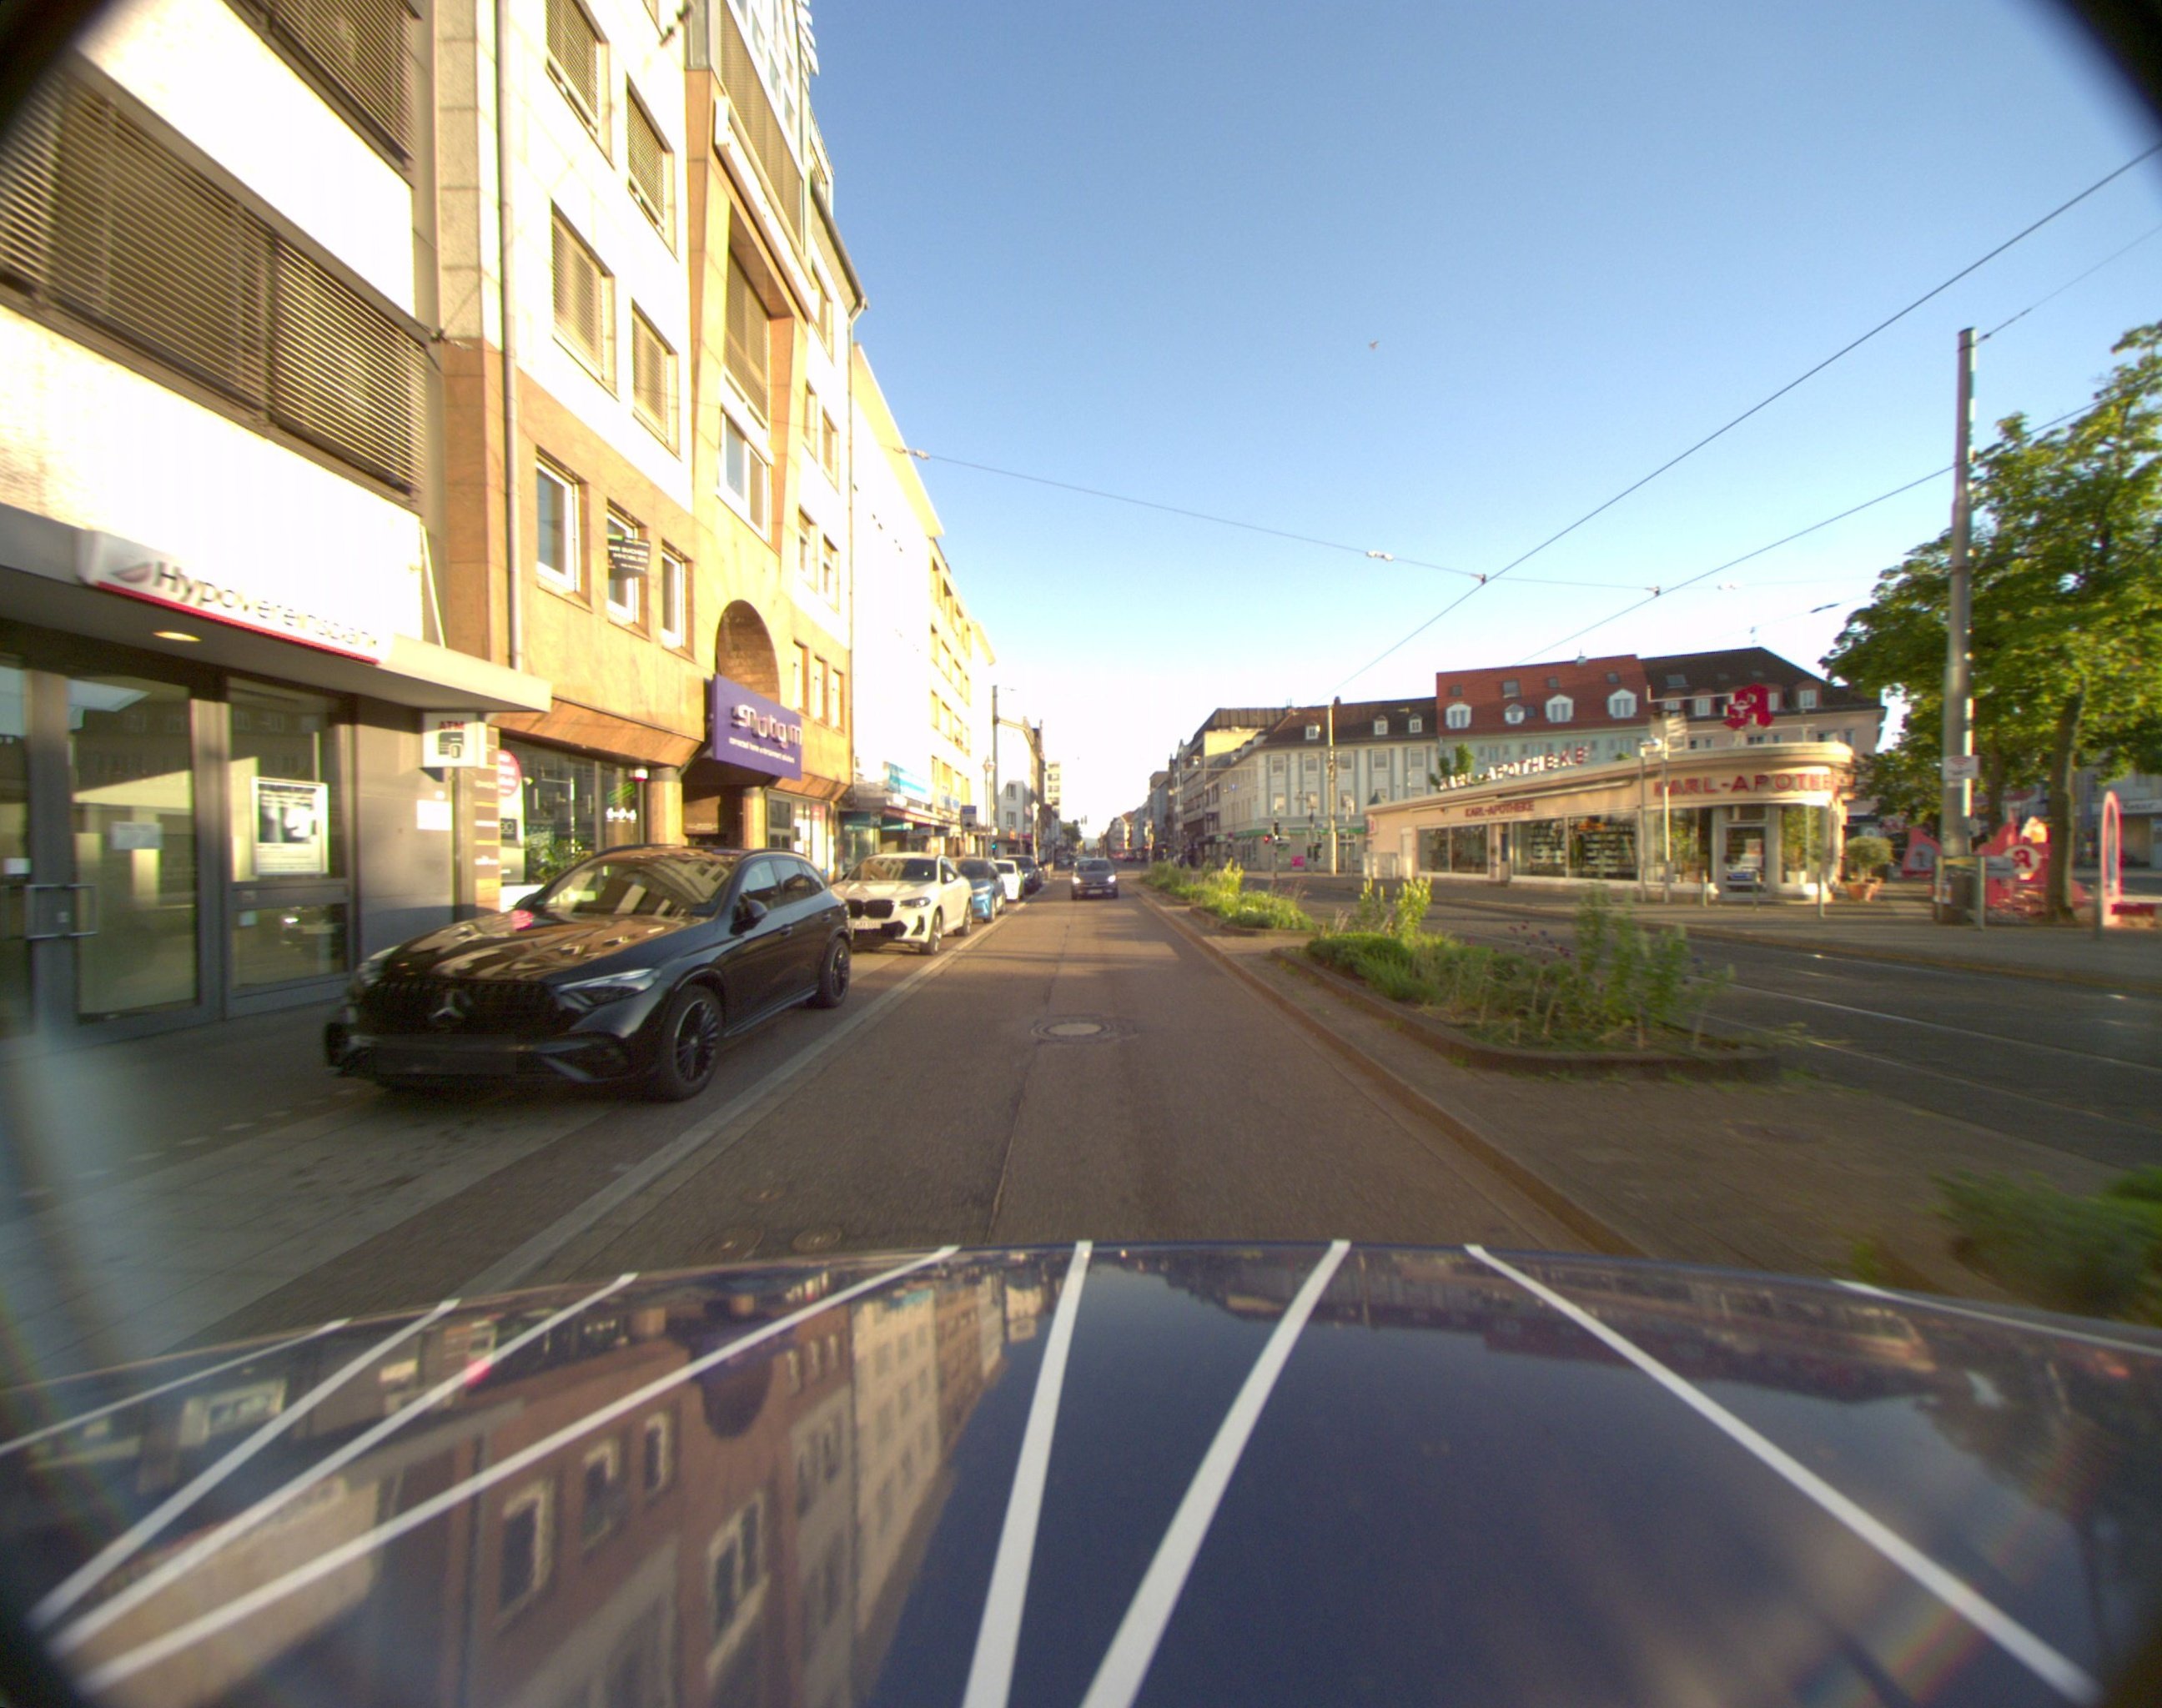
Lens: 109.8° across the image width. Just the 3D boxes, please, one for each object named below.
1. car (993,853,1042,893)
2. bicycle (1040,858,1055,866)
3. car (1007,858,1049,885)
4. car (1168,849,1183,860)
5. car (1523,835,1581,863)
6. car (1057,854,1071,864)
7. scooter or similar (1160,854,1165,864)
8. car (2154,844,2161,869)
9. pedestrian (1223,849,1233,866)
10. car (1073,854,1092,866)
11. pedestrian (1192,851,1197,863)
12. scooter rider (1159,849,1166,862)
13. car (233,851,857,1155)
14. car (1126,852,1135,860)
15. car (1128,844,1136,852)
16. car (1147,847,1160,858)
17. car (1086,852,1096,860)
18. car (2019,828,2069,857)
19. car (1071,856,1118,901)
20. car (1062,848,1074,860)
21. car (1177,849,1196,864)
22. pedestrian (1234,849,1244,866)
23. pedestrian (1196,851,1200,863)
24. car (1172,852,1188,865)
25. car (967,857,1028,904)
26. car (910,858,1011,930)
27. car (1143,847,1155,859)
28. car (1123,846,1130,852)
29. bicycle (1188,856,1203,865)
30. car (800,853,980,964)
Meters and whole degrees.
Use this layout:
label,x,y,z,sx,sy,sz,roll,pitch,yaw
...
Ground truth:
label,x,y,z,sx,sy,sz,roll,pitch,yaw
car,-2.696,0.787,33.229,1.769,1.595,4.287,-1,0,0
bicycle,-4.224,1.029,95.112,1.829,1.025,0.443,1,0,-5
car,-2.744,0.895,39.918,1.677,1.275,4.064,0,1,3
car,14.113,0.075,113.386,1.819,1.548,3.999,0,2,1
car,36.006,-0.423,58.252,1.998,2.002,3.999,0,2,1
car,-2.694,0.743,121.230,2.041,1.550,4.386,0,0,0
scooter or similar,11.623,0.673,108.729,0.545,1.343,1.669,-1,0,2
car,65.913,0.150,44.439,3.343,1.475,1.553,0,0,24
pedestrian,14.666,0.366,75.835,0.826,1.718,0.814,-2,1,14
car,0.182,0.686,90.159,1.914,1.350,3.747,-2,0,4
pedestrian,16.003,0.473,107.217,0.509,1.675,0.583,-1,2,0
scooter rider,11.674,0.227,108.883,0.813,1.796,0.788,0,0,1
car,-3.399,0.799,6.145,1.780,1.529,4.579,0,-1,0
car,11.137,0.498,170.527,1.895,1.471,4.544,2,-2,1
car,14.882,-1.663,220.709,1.975,2.181,4.132,0,2,0
car,13.215,-0.285,139.238,1.998,2.002,3.999,0,2,1
car,2.300,0.447,171.404,1.804,1.739,3.838,0,2,8
car,70.497,-0.859,55.676,4.007,2.002,1.994,-2,3,-42
car,0.465,0.834,27.504,1.587,1.445,3.842,0,1,0
car,-2.308,-0.001,137.341,2.041,2.105,4.386,0,0,0
car,13.721,0.345,98.815,1.915,1.785,4.128,-2,1,0
pedestrian,15.545,0.348,74.780,0.826,1.631,0.814,-1,2,17
pedestrian,16.546,0.438,107.217,0.515,1.725,0.600,0,2,0
car,13.690,0.614,105.063,1.701,1.614,4.000,-1,0,0
car,-2.908,0.896,27.223,1.735,1.427,4.151,0,2,-1
car,-2.916,0.919,19.445,1.814,1.543,4.836,-1,0,0
car,13.123,-0.190,145.982,1.998,2.047,3.999,0,2,1
car,15.564,-1.658,261.902,1.999,2.002,3.998,-1,2,-2
bicycle,13.015,0.751,86.417,1.740,1.052,0.499,0,-1,9
car,-3.096,0.795,13.427,1.821,1.576,4.723,-1,0,2
